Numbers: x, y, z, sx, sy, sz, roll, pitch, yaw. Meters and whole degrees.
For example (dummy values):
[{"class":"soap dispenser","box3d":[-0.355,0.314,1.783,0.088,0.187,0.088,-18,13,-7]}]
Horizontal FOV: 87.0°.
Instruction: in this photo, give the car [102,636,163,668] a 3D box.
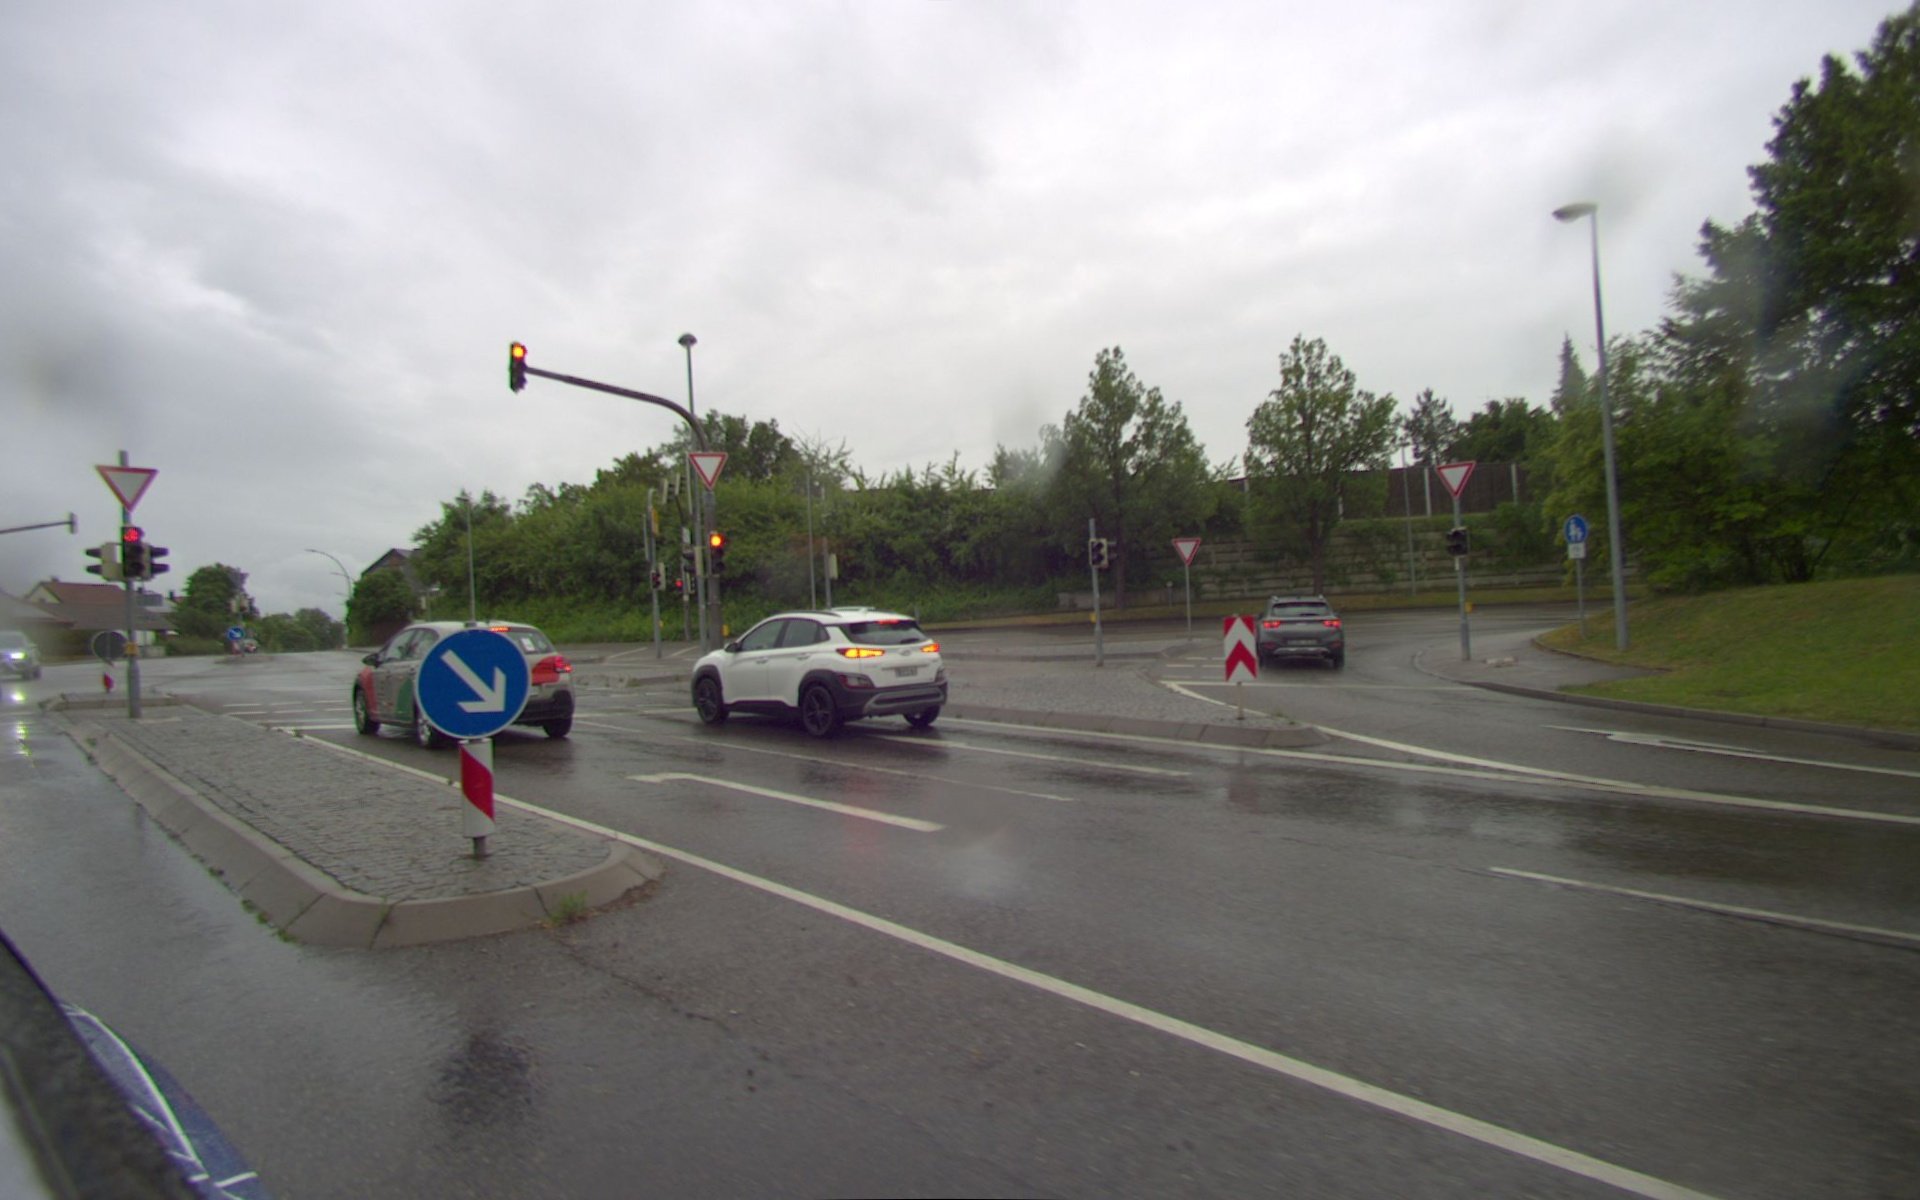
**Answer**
[{"class":"car","box3d":[-66.412,4.121,81.290,1.630,2.368,4.001,-3,-1,-2]}]

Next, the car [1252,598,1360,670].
[{"class":"car","box3d":[7.606,0.710,22.581,1.886,1.467,3.983,0,-1,13]}]

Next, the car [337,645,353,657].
[{"class":"car","box3d":[-78.842,6.504,129.800,1.598,1.516,3.832,0,-2,-34]}]

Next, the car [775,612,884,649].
[{"class":"car","box3d":[-5.599,1.271,43.257,4.458,1.373,1.766,-2,-1,-10]}]

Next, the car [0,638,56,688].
[{"class":"car","box3d":[-30.664,2.042,32.346,1.867,1.494,4.011,-2,-2,-31]}]

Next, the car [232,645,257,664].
[{"class":"car","box3d":[-64.640,4.924,91.466,1.729,1.568,3.930,-2,-1,-34]}]

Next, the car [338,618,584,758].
[{"class":"car","box3d":[-6.500,1.009,12.975,1.642,1.506,4.002,0,-2,-45]}]

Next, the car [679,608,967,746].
[{"class":"car","box3d":[-1.942,0.923,13.454,1.700,1.506,4.002,-2,0,-45]}]
